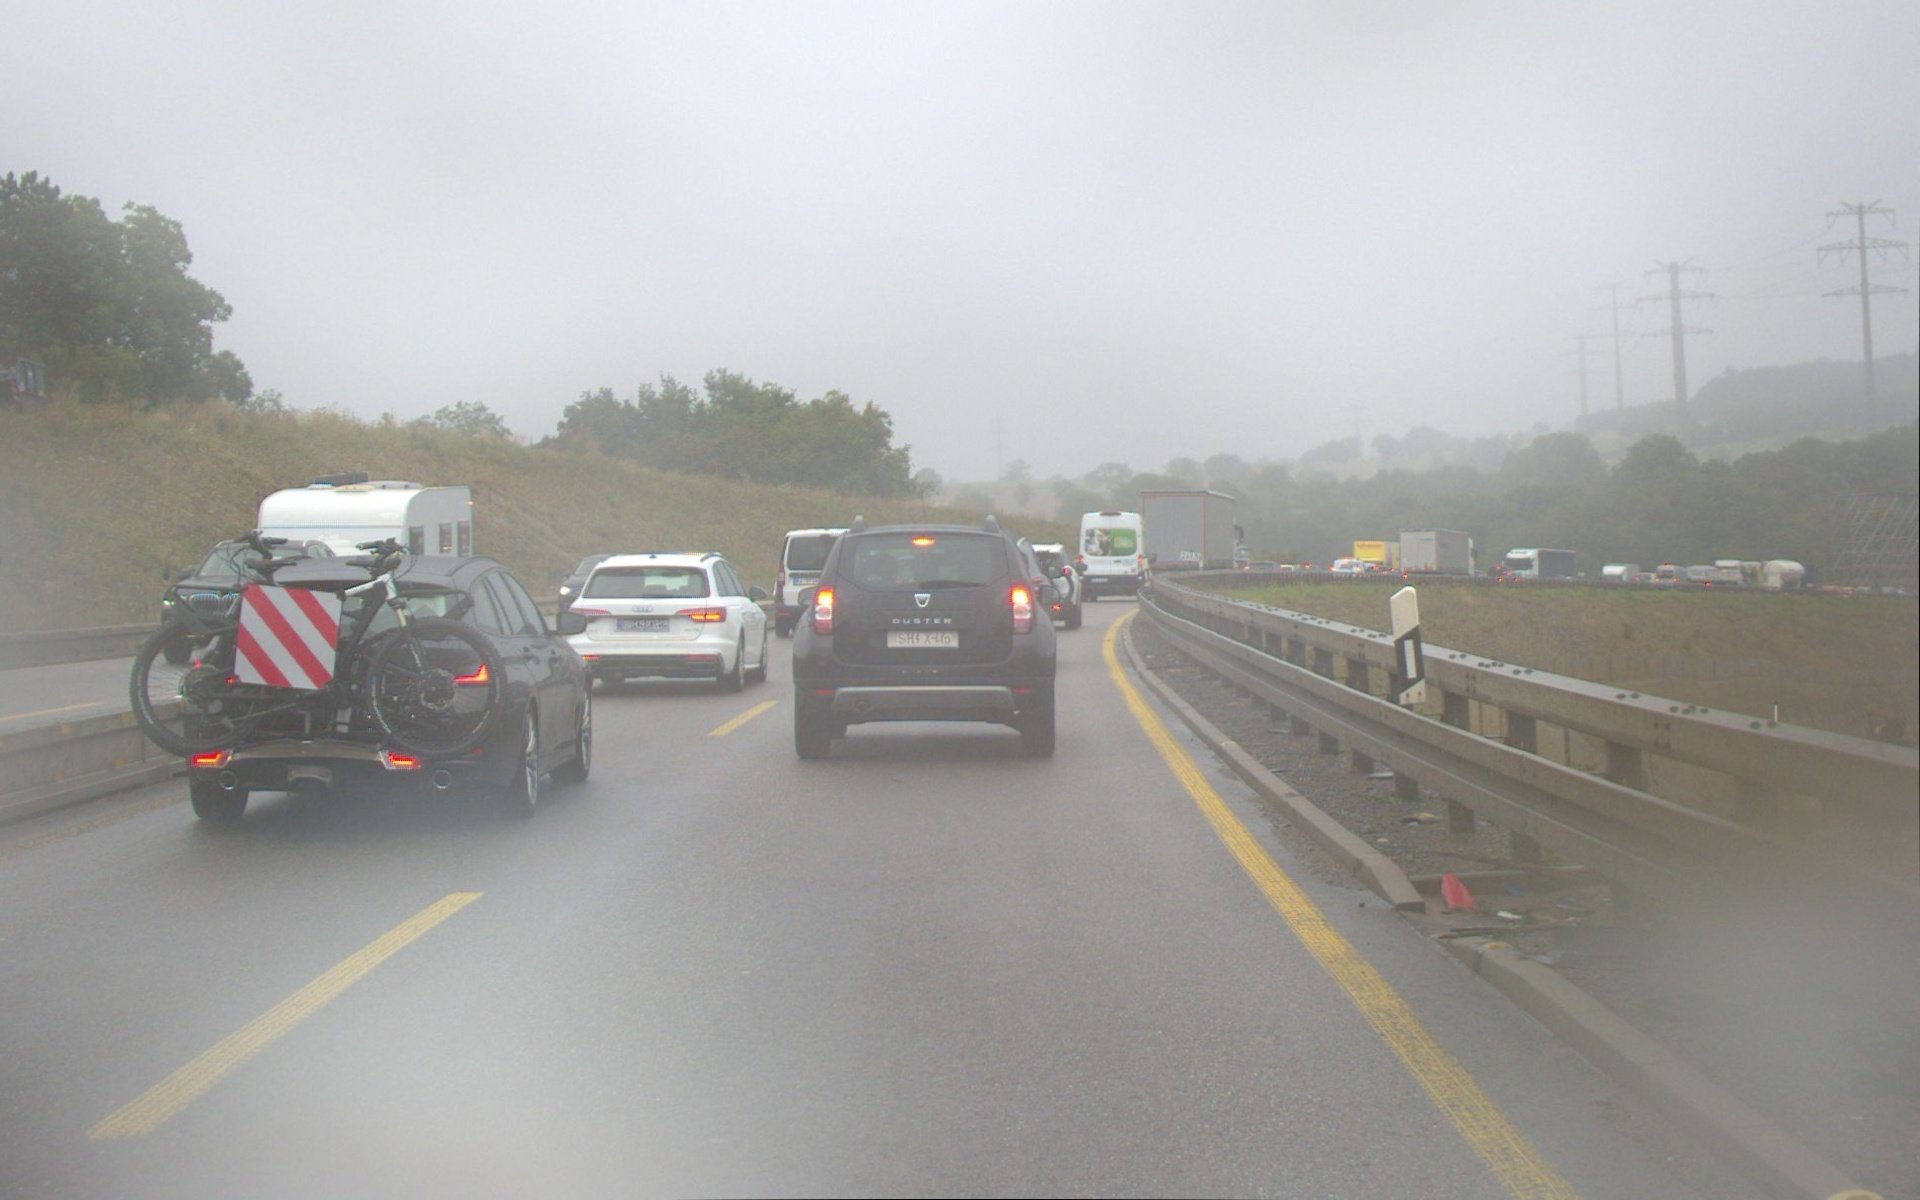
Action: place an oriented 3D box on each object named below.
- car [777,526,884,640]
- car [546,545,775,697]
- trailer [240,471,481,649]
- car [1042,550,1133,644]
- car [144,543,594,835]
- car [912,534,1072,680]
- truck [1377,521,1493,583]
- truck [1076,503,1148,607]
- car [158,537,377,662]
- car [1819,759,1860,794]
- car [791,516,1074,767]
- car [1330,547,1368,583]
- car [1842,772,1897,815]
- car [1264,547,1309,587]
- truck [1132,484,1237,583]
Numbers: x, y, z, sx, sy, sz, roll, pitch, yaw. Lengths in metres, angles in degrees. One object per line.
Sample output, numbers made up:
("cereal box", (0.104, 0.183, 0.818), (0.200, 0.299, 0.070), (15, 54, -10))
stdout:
("car", (-2.202, -0.314, 59.144), (1.660, 1.873, 4.020), (1, 1, 0))
("car", (-3.049, 0.171, 35.864), (1.867, 1.455, 4.548), (1, 1, 1))
("trailer", (-9.204, -0.654, 53.528), (2.510, 2.556, 7.163), (1, 1, 0))
("car", (2.303, -0.080, 62.775), (1.530, 1.635, 4.013), (1, 1, 1))
("car", (-3.186, 0.435, 19.243), (1.829, 1.471, 3.776), (0, 0, 1))
("car", (0.375, 0.054, 42.529), (1.867, 1.703, 4.000), (1, 1, 0))
("truck", (33.365, -3.337, 240.765), (4.722, 4.135, 15.666), (1, 1, 20))
("truck", (4.778, -1.416, 108.616), (2.149, 3.155, 6.459), (1, 1, 2))
("car", (-9.461, -0.054, 47.392), (1.993, 1.581, 5.119), (1, 1, 0))
("car", (52.224, 10.458, 204.120), (1.994, 1.809, 3.998), (0, 0, 9))
("car", (-0.119, 0.258, 24.421), (1.804, 1.640, 3.776), (0, 0, 3))
("car", (21.472, -1.940, 189.813), (1.776, 1.909, 3.998), (1, 1, 11))
("car", (49.643, 10.563, 187.765), (2.366, 2.007, 3.999), (1, 1, 7))
("car", (16.062, -1.647, 168.977), (1.776, 1.909, 3.998), (1, 1, 11))
("truck", (8.914, -2.583, 135.816), (3.202, 3.748, 8.506), (1, 1, 10))
